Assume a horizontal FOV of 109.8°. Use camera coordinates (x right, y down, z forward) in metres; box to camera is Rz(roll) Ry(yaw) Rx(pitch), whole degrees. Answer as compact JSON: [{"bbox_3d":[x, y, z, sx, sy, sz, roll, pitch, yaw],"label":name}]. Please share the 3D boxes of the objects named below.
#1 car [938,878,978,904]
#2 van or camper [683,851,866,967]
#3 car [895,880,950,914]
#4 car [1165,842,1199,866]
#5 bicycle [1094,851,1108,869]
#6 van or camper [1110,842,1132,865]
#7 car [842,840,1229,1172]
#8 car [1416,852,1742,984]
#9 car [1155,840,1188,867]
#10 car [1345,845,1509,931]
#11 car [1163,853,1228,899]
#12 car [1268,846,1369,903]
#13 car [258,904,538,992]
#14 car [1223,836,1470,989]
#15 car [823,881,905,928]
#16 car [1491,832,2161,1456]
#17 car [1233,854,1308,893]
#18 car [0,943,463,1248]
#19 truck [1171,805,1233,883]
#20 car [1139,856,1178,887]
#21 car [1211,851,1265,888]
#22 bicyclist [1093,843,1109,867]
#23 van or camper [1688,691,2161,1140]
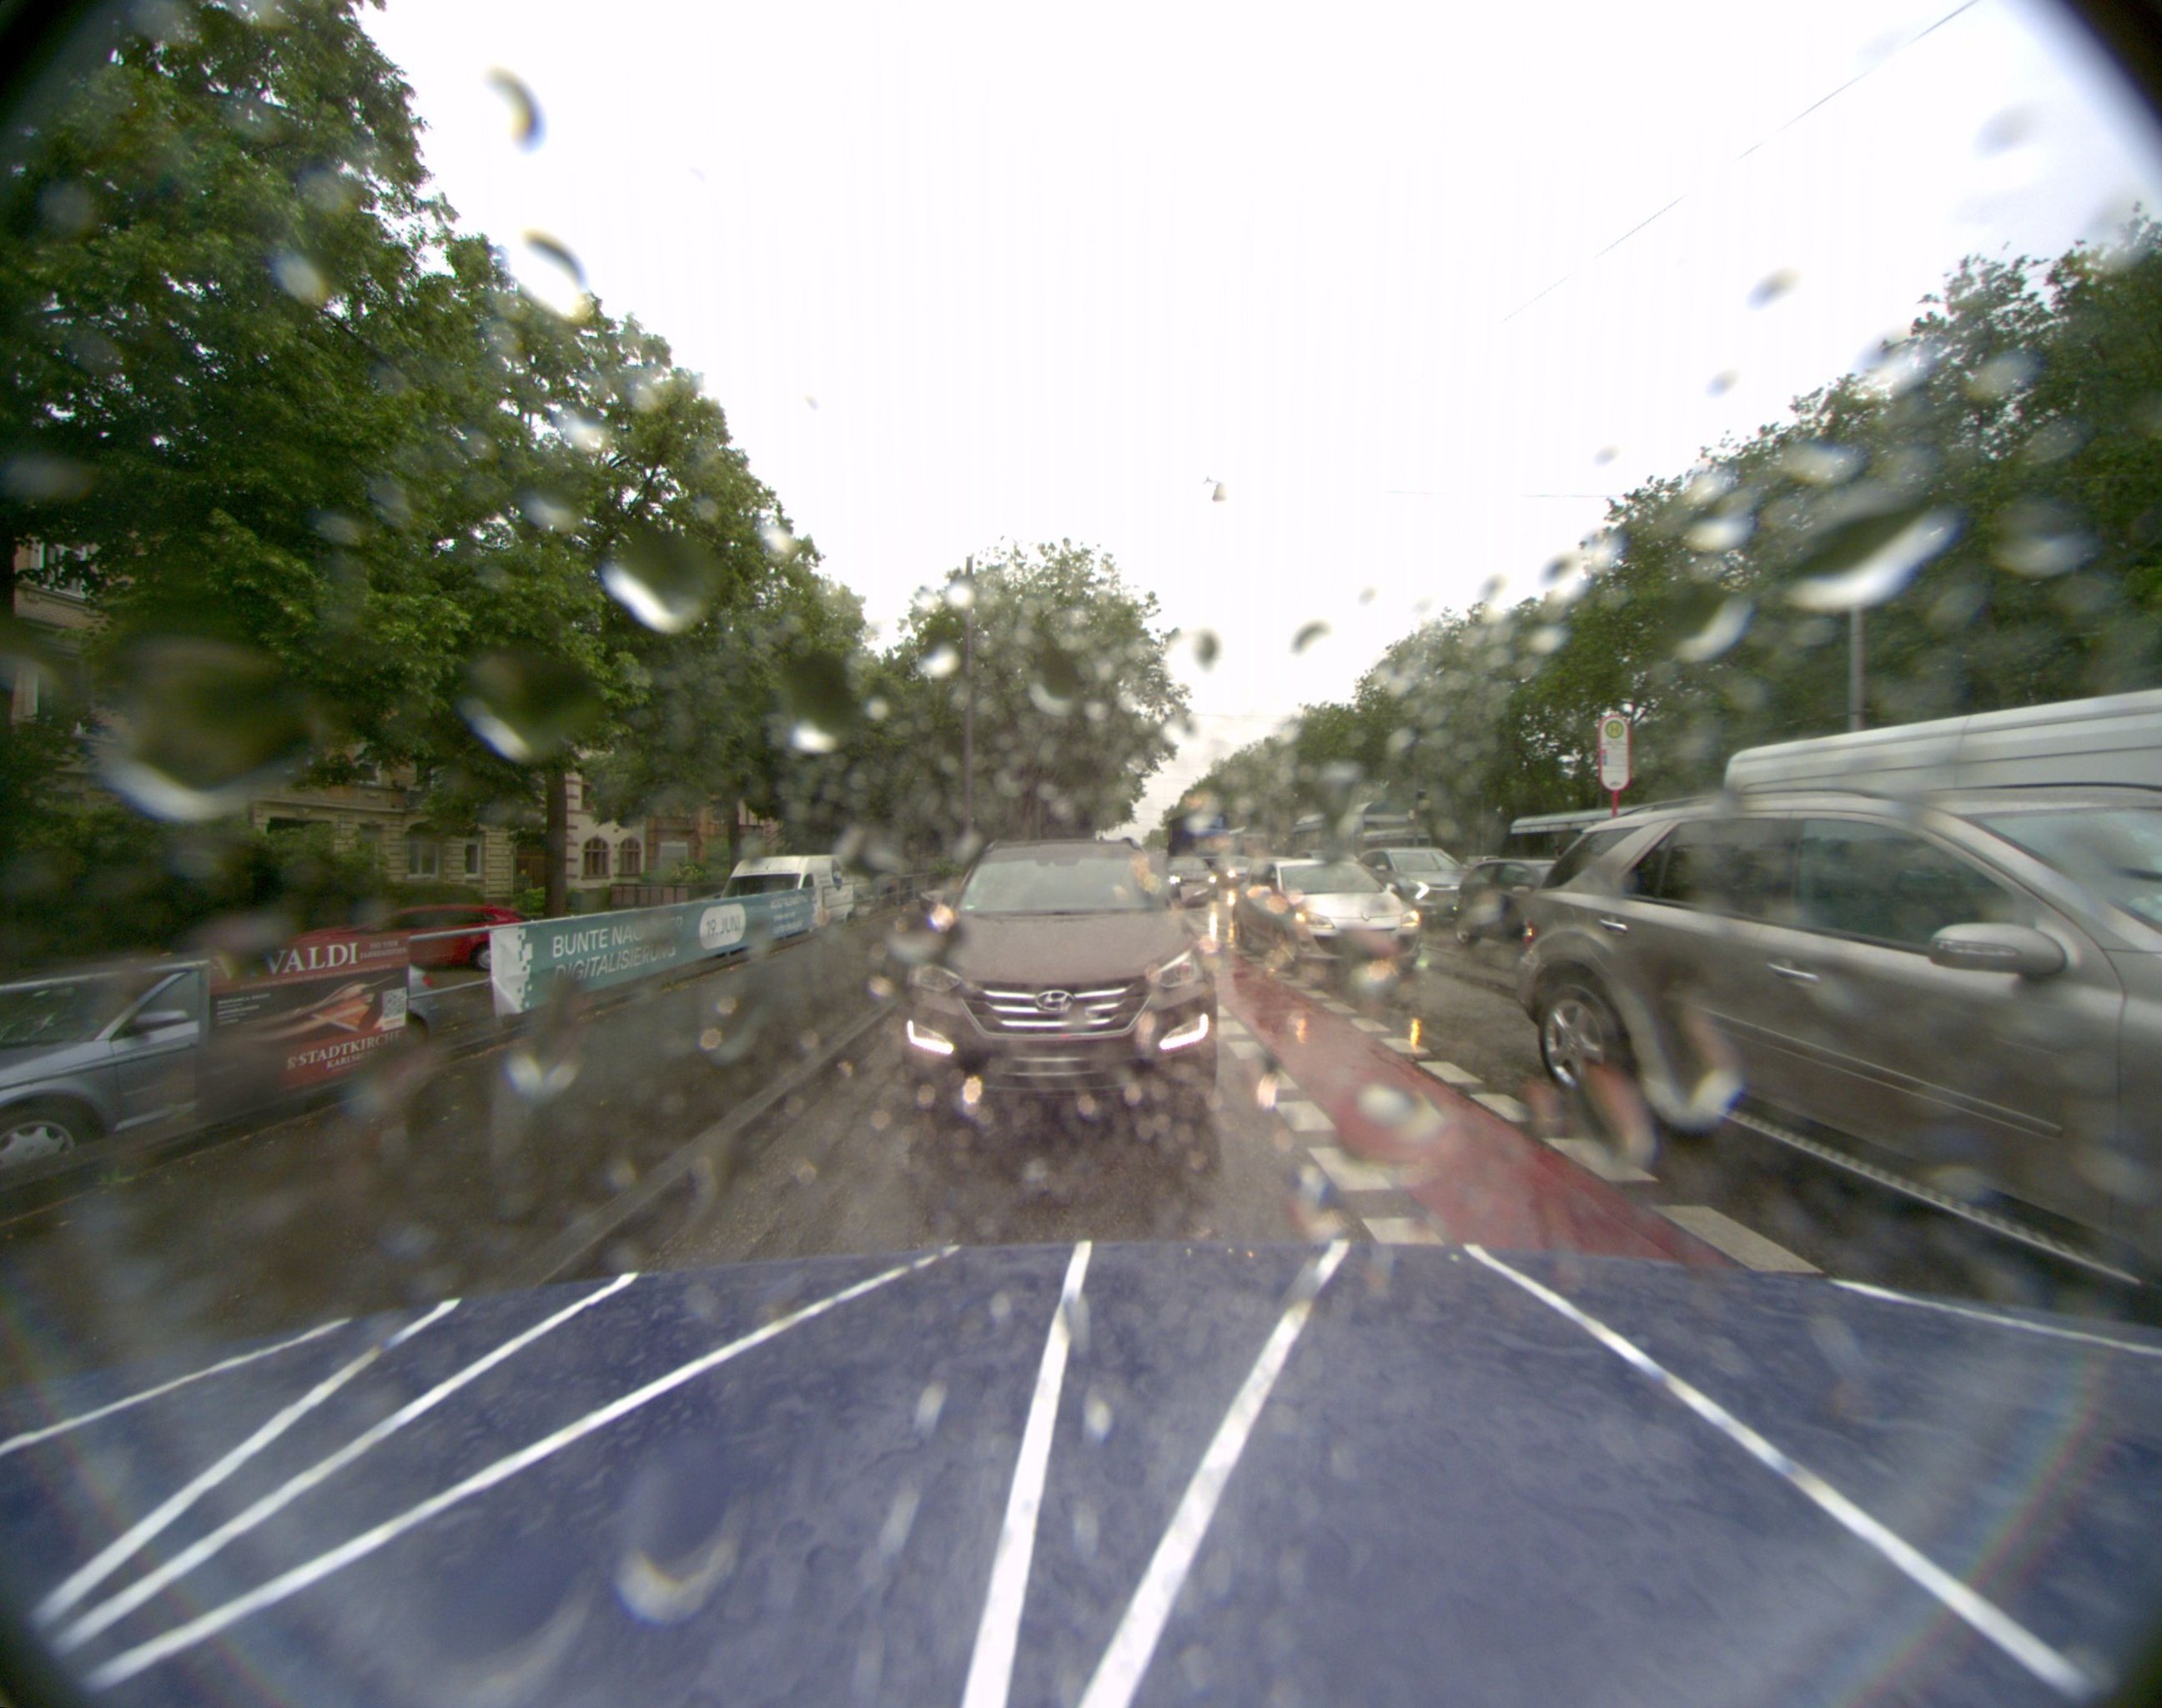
[{"bbox_3d":[-7.805,2.335,48.568,1.808,1.446,4.001,-1,-1,1],"label":"car"},{"bbox_3d":[-7.741,1.278,20.096,2.332,2.575,6.097,-1,-1,0],"label":"van or camper"},{"bbox_3d":[-7.534,2.017,36.445,1.704,1.363,4.000,-2,0,1],"label":"car"},{"bbox_3d":[7.655,-0.042,57.955,1.998,1.706,3.999,-2,1,1],"label":"car"},{"bbox_3d":[1.293,0.387,48.577,0.818,1.082,1.998,-2,1,3],"label":"bicycle"},{"bbox_3d":[4.634,-0.035,88.454,2.144,2.484,5.713,-1,-1,-1],"label":"van or camper"},{"bbox_3d":[-0.127,0.803,6.150,1.912,1.637,4.682,-1,-1,3],"label":"car"},{"bbox_3d":[6.832,0.789,11.180,1.786,1.504,4.557,-1,-1,0],"label":"car"},{"bbox_3d":[7.729,-0.045,65.549,2.344,2.137,5.454,-2,1,2],"label":"car"},{"bbox_3d":[7.424,0.696,16.818,1.847,1.625,4.249,-1,-1,3],"label":"car"},{"bbox_3d":[4.183,0.798,28.451,1.912,1.540,4.668,-1,-1,3],"label":"car"},{"bbox_3d":[7.524,0.633,24.513,1.913,1.637,4.191,-1,-1,0],"label":"car"},{"bbox_3d":[-14.591,1.952,16.608,4.294,1.461,1.705,-1,-1,-31],"label":"car"},{"bbox_3d":[3.504,0.711,11.000,1.975,1.731,4.267,-1,-1,-1],"label":"car"},{"bbox_3d":[-7.650,1.733,27.188,1.630,1.341,4.216,-1,0,1],"label":"car"},{"bbox_3d":[3.767,0.749,2.805,1.913,1.637,4.680,-1,-1,-1],"label":"car"},{"bbox_3d":[7.456,0.755,30.296,1.913,1.399,4.191,-1,-1,0],"label":"car"},{"bbox_3d":[-7.207,1.623,5.635,1.731,1.461,4.217,-1,-1,1],"label":"car"},{"bbox_3d":[7.128,-0.495,45.799,2.417,4.251,8.354,-1,-1,1],"label":"truck"},{"bbox_3d":[4.318,0.953,42.776,1.912,1.637,4.192,-1,-1,3],"label":"car"},{"bbox_3d":[7.447,0.739,36.351,1.912,1.637,4.192,-1,-1,3],"label":"car"},{"bbox_3d":[1.272,0.040,48.413,0.927,1.461,0.805,-2,1,1],"label":"bicyclist"},{"bbox_3d":[6.998,0.324,4.367,2.181,2.456,5.971,-1,-1,0],"label":"van or camper"}]
